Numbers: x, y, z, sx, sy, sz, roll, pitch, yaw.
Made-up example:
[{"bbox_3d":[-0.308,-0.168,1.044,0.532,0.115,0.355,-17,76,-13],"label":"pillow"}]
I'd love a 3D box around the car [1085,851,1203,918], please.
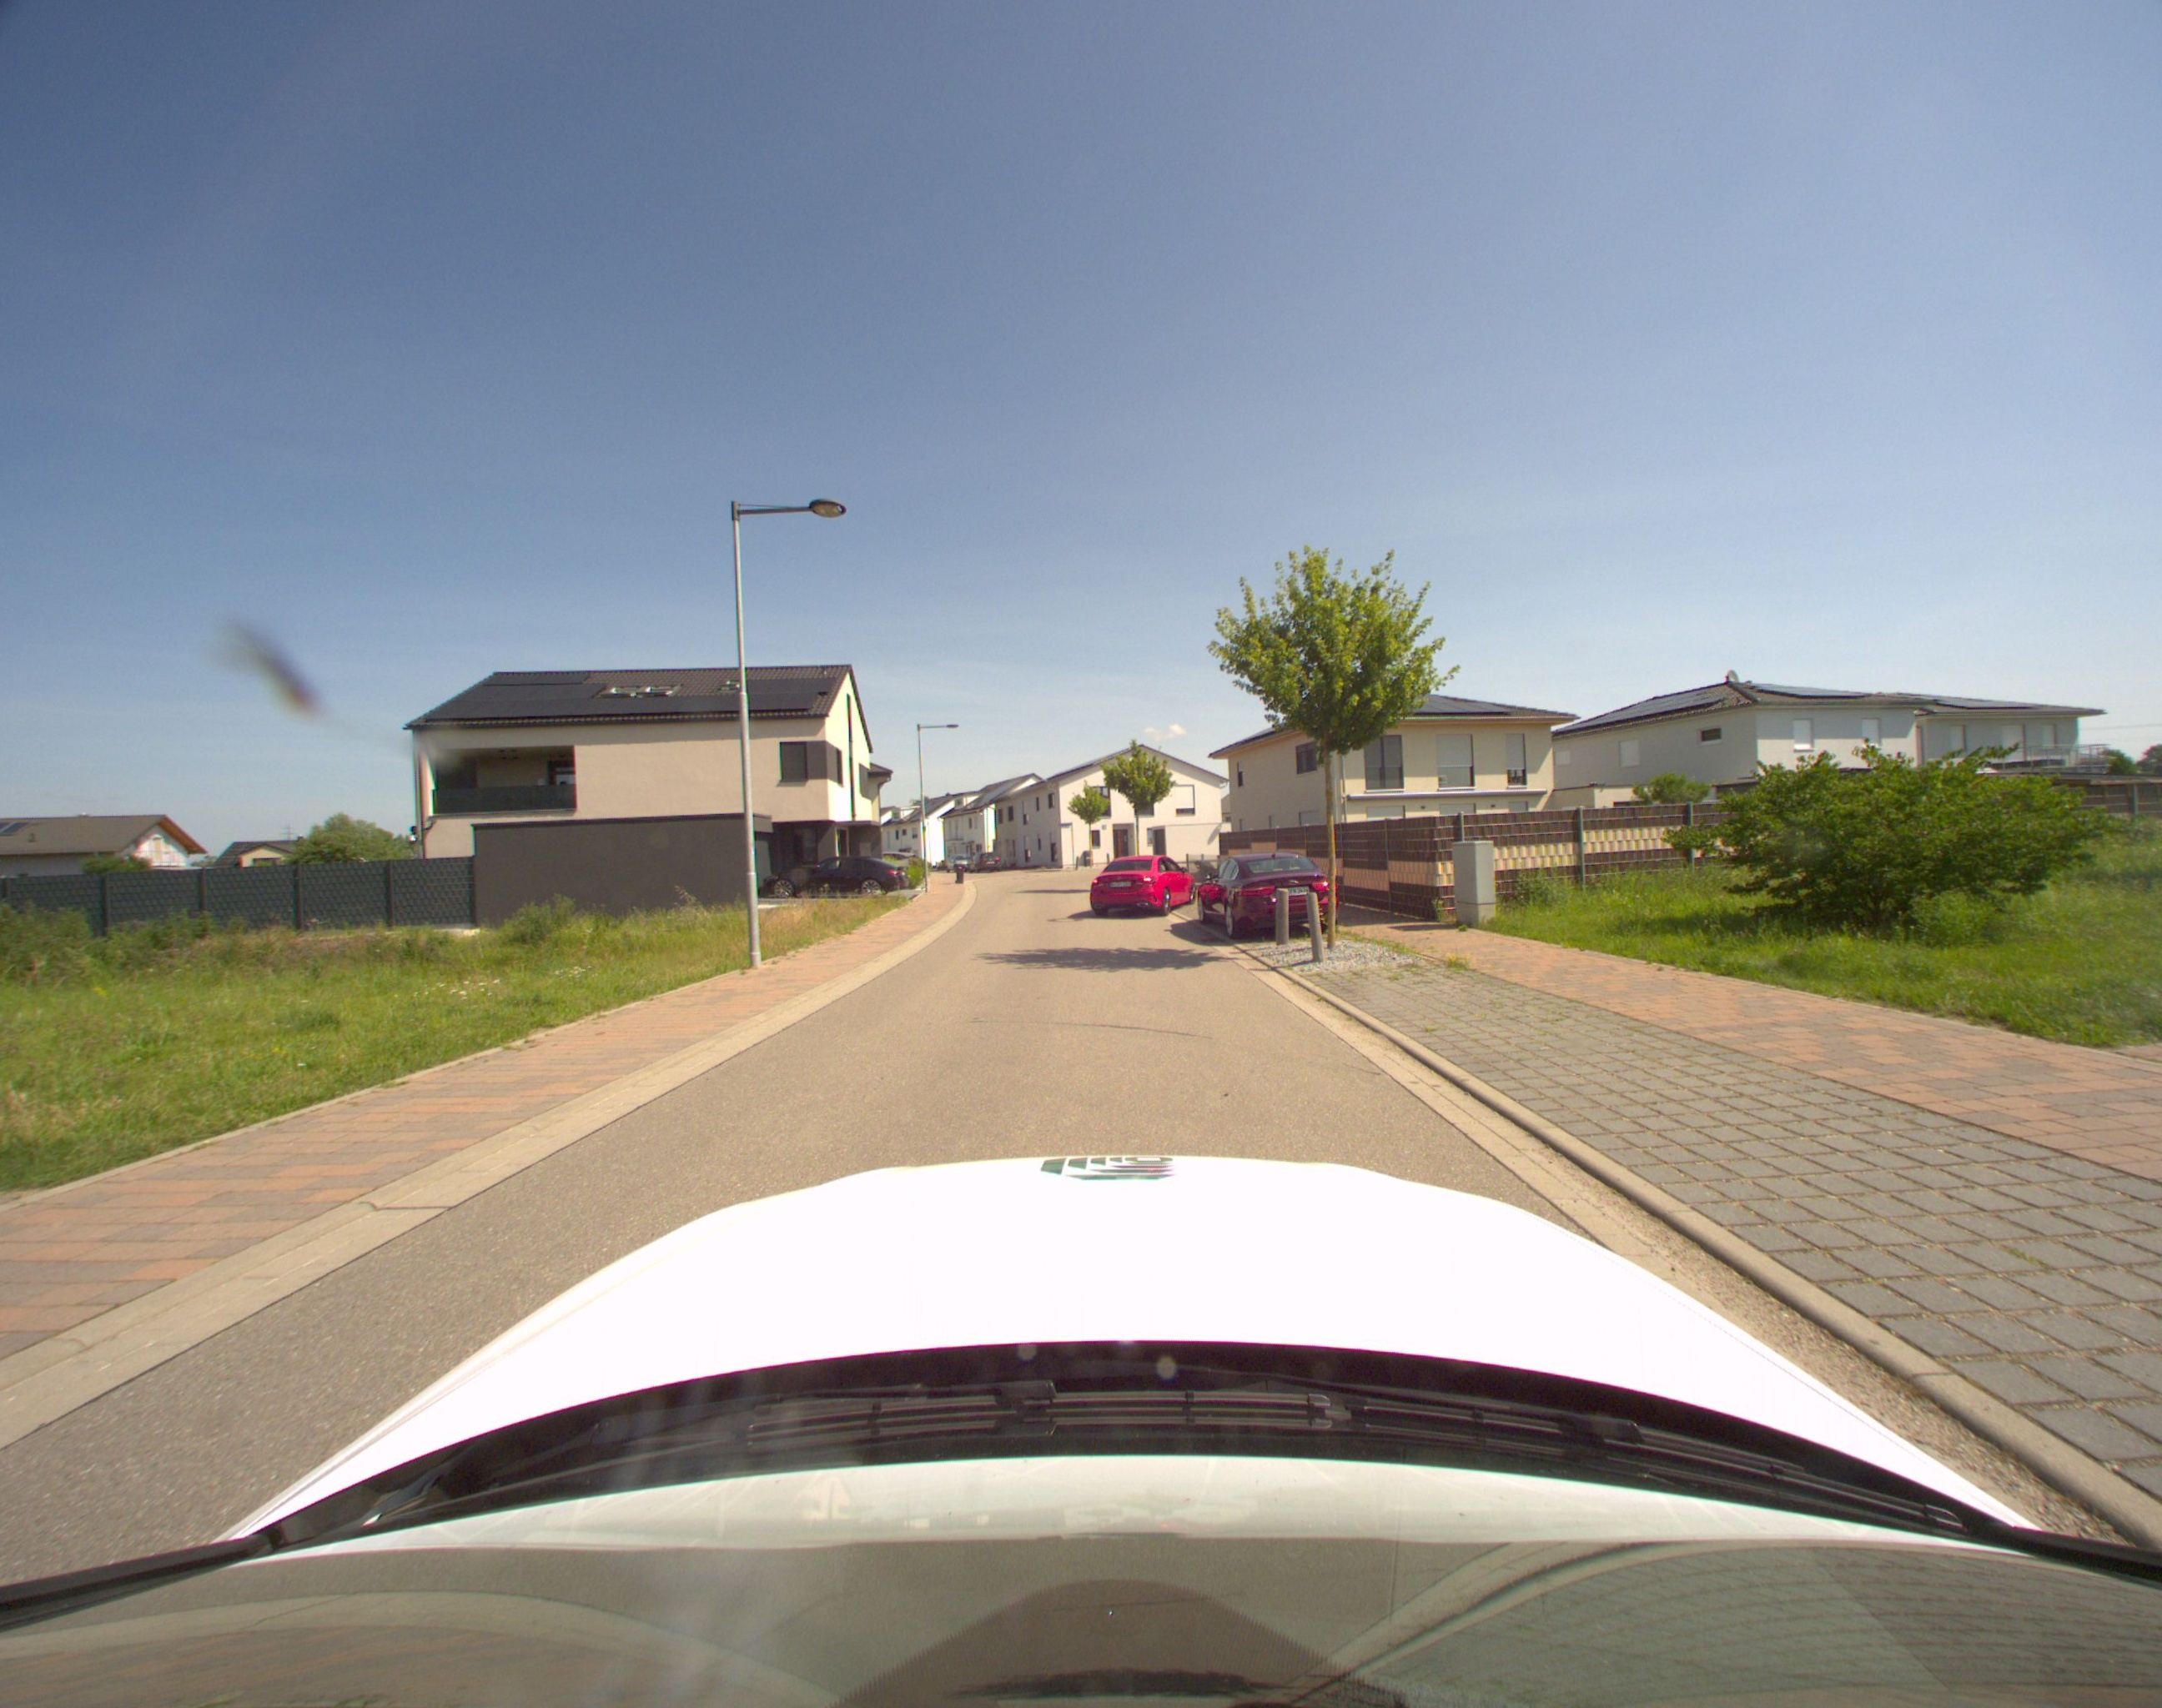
[{"bbox_3d":[1.740,0.699,20.766,1.747,1.438,4.543,-1,0,21],"label":"car"}]

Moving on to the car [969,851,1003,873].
[{"bbox_3d":[-6.792,0.563,57.838,1.731,1.422,3.978,-3,0,-16],"label":"car"}]

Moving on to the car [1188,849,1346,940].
[{"bbox_3d":[3.273,0.637,15.268,1.750,1.363,4.572,-3,0,-2],"label":"car"}]

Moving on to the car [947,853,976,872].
[{"bbox_3d":[-9.903,0.719,67.326,1.682,1.464,3.919,-3,0,-19],"label":"car"}]

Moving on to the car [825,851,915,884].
[{"bbox_3d":[-10.451,0.661,40.561,3.978,1.486,1.752,-2,0,-4],"label":"car"}]

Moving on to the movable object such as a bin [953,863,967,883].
[{"bbox_3d":[-5.637,0.880,38.084,0.532,0.936,0.526,-1,0,4],"label":"movable object such as a bin"}]

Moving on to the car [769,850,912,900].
[{"bbox_3d":[-8.064,0.677,27.640,4.369,1.631,1.767,0,0,-5],"label":"car"}]
